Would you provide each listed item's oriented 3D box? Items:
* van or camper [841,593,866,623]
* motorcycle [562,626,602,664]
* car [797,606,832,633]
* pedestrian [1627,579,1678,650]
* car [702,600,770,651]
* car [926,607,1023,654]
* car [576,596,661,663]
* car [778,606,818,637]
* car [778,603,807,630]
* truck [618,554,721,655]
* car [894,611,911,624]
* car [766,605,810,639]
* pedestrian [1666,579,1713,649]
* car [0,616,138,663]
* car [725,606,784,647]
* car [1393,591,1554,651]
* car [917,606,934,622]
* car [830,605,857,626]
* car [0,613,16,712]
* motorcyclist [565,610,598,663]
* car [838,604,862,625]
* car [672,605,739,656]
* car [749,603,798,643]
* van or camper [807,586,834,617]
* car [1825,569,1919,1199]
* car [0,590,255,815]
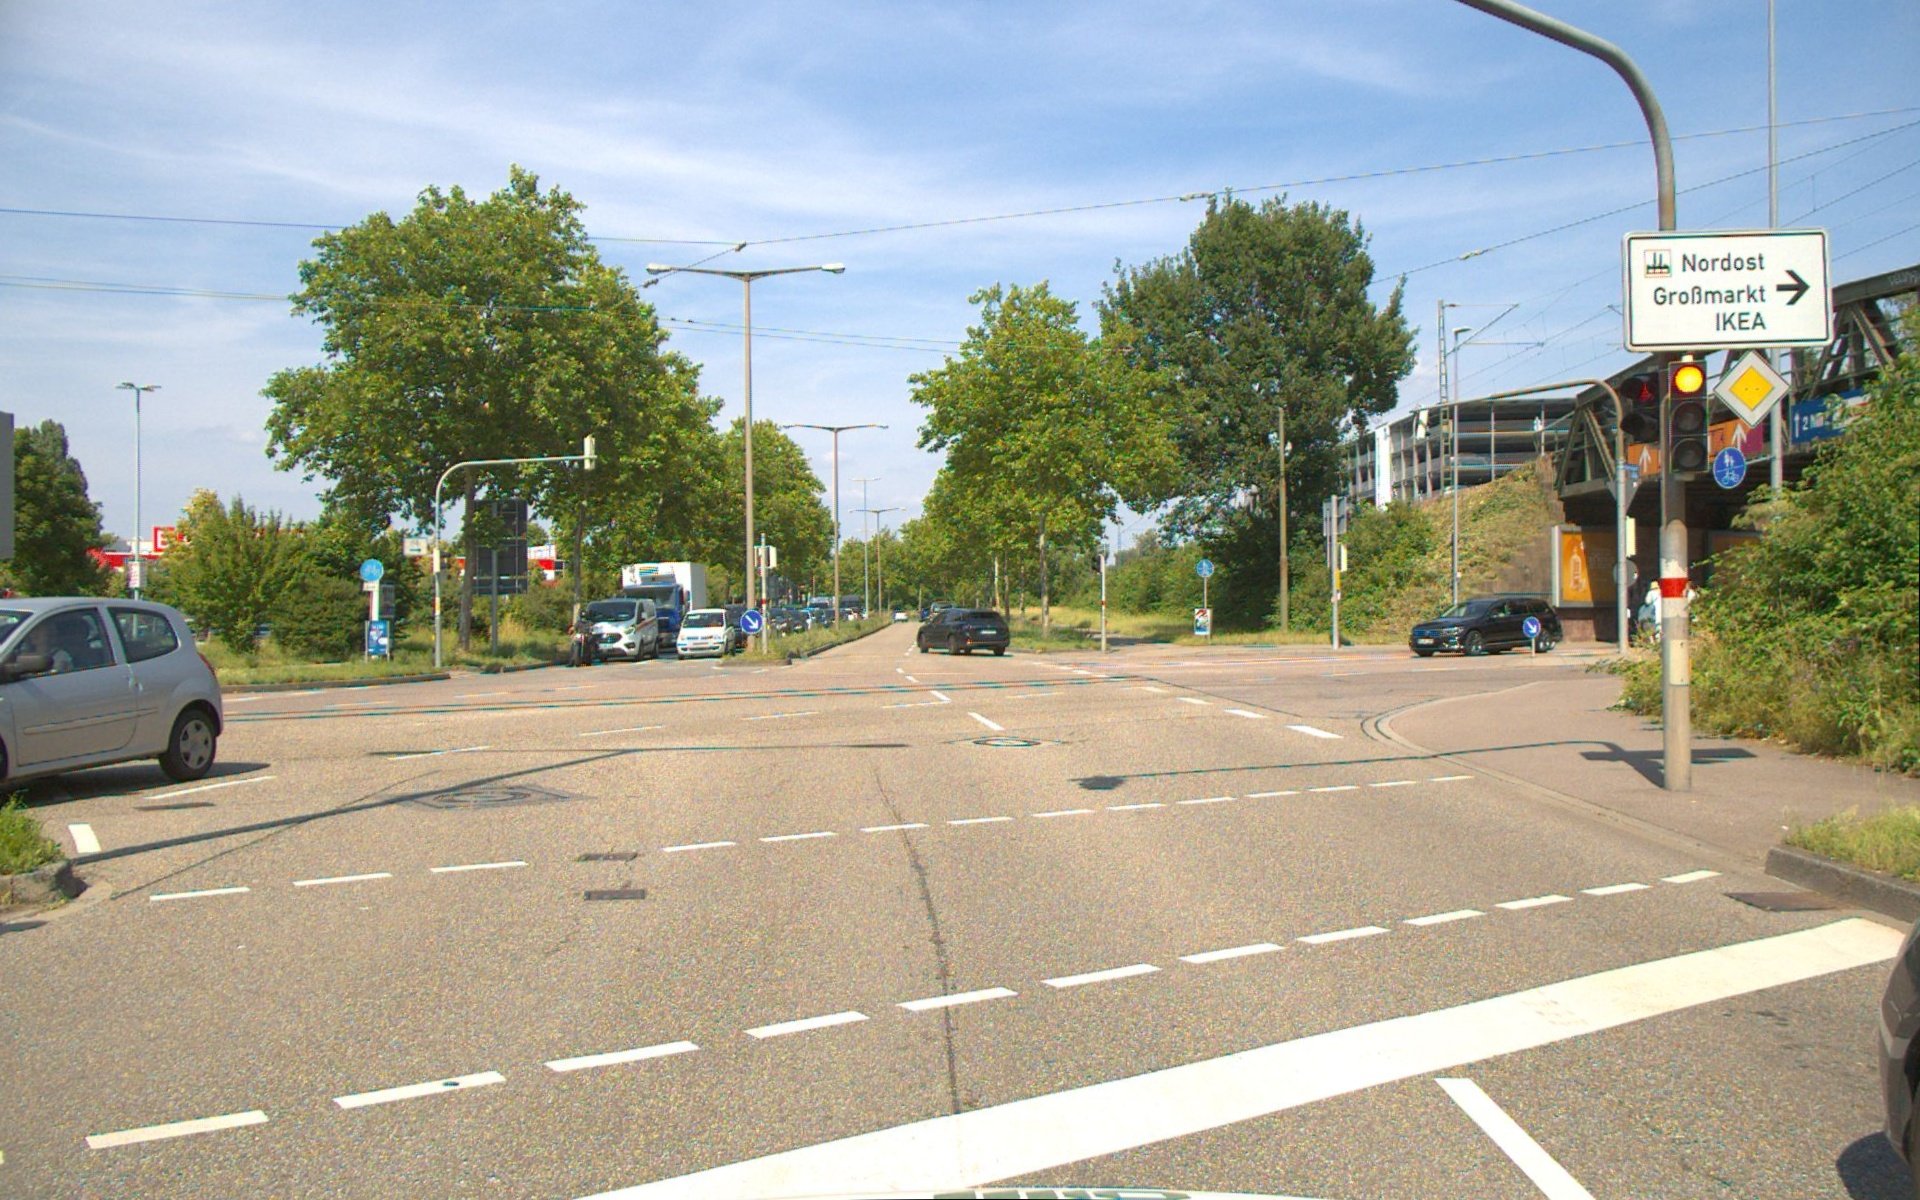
[{"bbox_3d":[-9.061,0.725,140.574,1.899,2.410,5.395,-2,-1,-2],"label":"van or camper"},{"bbox_3d":[-10.955,1.294,47.982,0.674,1.009,2.217,-1,0,-1],"label":"motorcycle"},{"bbox_3d":[-8.543,1.137,97.433,1.749,1.515,4.209,-2,0,-2],"label":"car"},{"bbox_3d":[16.144,0.330,38.563,0.850,1.640,0.777,-1,0,-1],"label":"pedestrian"},{"bbox_3d":[-7.865,0.899,58.325,1.783,1.675,4.692,-2,-1,-1],"label":"car"},{"bbox_3d":[0.410,0.943,53.301,1.806,1.416,4.241,-1,0,-19],"label":"car"},{"bbox_3d":[-10.882,0.902,53.085,1.937,2.034,5.028,-1,0,-3],"label":"car"},{"bbox_3d":[-8.276,1.087,84.742,1.654,1.497,3.814,-2,0,-1],"label":"car"},{"bbox_3d":[-12.017,1.175,118.717,1.654,1.891,4.035,-2,-1,-1],"label":"car"},{"bbox_3d":[-11.039,0.158,63.404,2.747,3.532,6.690,-3,0,-1],"label":"truck"},{"bbox_3d":[-6.741,2.032,193.815,1.767,1.537,3.810,-1,0,-6],"label":"car"},{"bbox_3d":[-8.212,1.038,79.107,1.655,1.499,4.217,-3,0,-1],"label":"car"},{"bbox_3d":[17.027,0.315,38.625,0.714,1.607,0.777,-1,0,-1],"label":"pedestrian"},{"bbox_3d":[-29.699,1.290,54.200,4.477,1.439,2.197,-1,0,-8],"label":"car"},{"bbox_3d":[-8.059,1.013,65.256,1.760,1.493,4.522,-2,0,-1],"label":"car"},{"bbox_3d":[13.598,0.532,43.721,4.166,1.468,1.771,-1,0,-31],"label":"car"},{"bbox_3d":[-3.431,1.398,167.106,1.654,1.537,3.814,-2,0,-1],"label":"car"},{"bbox_3d":[-8.783,1.167,125.057,1.747,1.484,4.471,-2,0,-1],"label":"car"},{"bbox_3d":[-16.059,0.944,23.574,4.411,1.436,1.619,-1,0,-36],"label":"car"},{"bbox_3d":[-10.991,1.045,48.077,0.728,1.496,0.987,-1,0,-1],"label":"motorcyclist"},{"bbox_3d":[-8.774,1.156,131.770,1.654,1.537,3.814,-2,0,-1],"label":"car"},{"bbox_3d":[-8.026,0.946,52.478,1.560,1.503,3.728,-2,0,-1],"label":"car"},{"bbox_3d":[-8.051,0.992,71.836,1.654,1.614,4.239,-2,0,-1],"label":"car"},{"bbox_3d":[-12.444,0.136,147.697,1.974,2.633,5.516,-2,0,-1],"label":"van or camper"},{"bbox_3d":[3.000,0.681,2.085,1.640,1.479,4.035,1,0,-1],"label":"car"},{"bbox_3d":[-7.172,0.705,12.384,1.614,1.540,3.739,-1,0,12],"label":"car"}]
